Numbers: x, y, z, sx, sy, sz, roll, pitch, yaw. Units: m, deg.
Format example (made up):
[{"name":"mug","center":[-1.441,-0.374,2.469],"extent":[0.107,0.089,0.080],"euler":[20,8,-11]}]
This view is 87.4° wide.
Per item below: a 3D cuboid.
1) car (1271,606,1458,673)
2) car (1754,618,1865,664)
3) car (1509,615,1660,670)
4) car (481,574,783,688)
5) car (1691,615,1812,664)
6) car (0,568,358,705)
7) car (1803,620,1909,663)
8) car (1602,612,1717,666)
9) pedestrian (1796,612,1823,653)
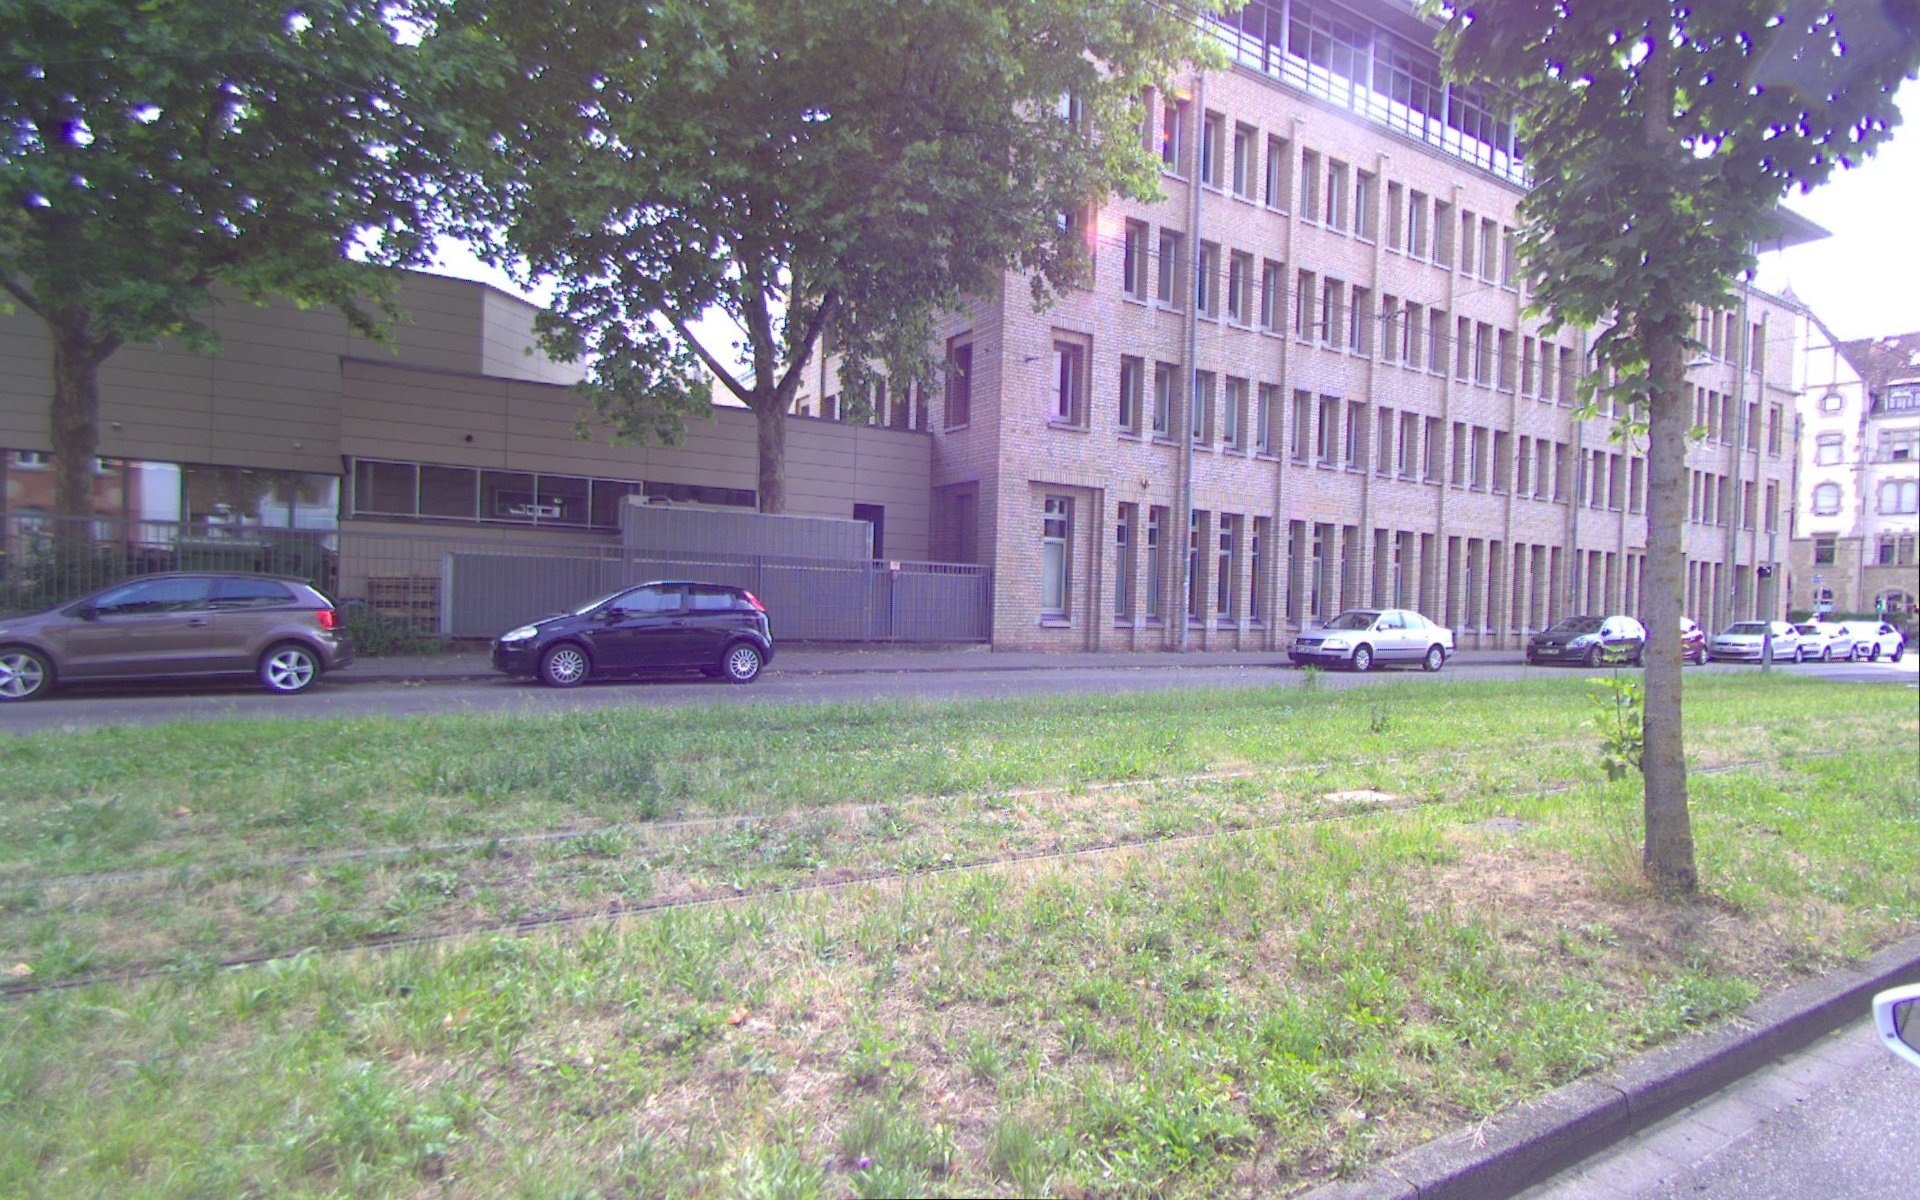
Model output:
[{"name":"car","center":[9.577,0.921,23.686],"extent":[4.432,1.415,1.707],"euler":[2,1,-30]},{"name":"car","center":[31.820,1.518,37.609],"extent":[3.967,1.551,1.924],"euler":[2,1,-30]},{"name":"car","center":[17.980,1.198,28.884],"extent":[4.189,1.415,1.924],"euler":[2,1,-30]},{"name":"car","center":[-4.799,0.436,14.749],"extent":[3.950,1.472,1.795],"euler":[2,1,-28]},{"name":"car","center":[27.376,1.356,34.723],"extent":[4.160,1.551,1.842],"euler":[2,1,-30]},{"name":"car","center":[-9.436,0.403,11.940],"extent":[3.857,1.445,1.546],"euler":[2,1,-31]},{"name":"car","center":[35.613,1.638,39.915],"extent":[4.208,1.555,1.924],"euler":[2,1,-30]},{"name":"car","center":[21.845,1.218,31.345],"extent":[3.507,1.551,1.575],"euler":[2,1,-30]},{"name":"pedestrian","center":[38.315,1.452,45.324],"extent":[0.749,1.819,0.957],"euler":[2,1,34]}]
